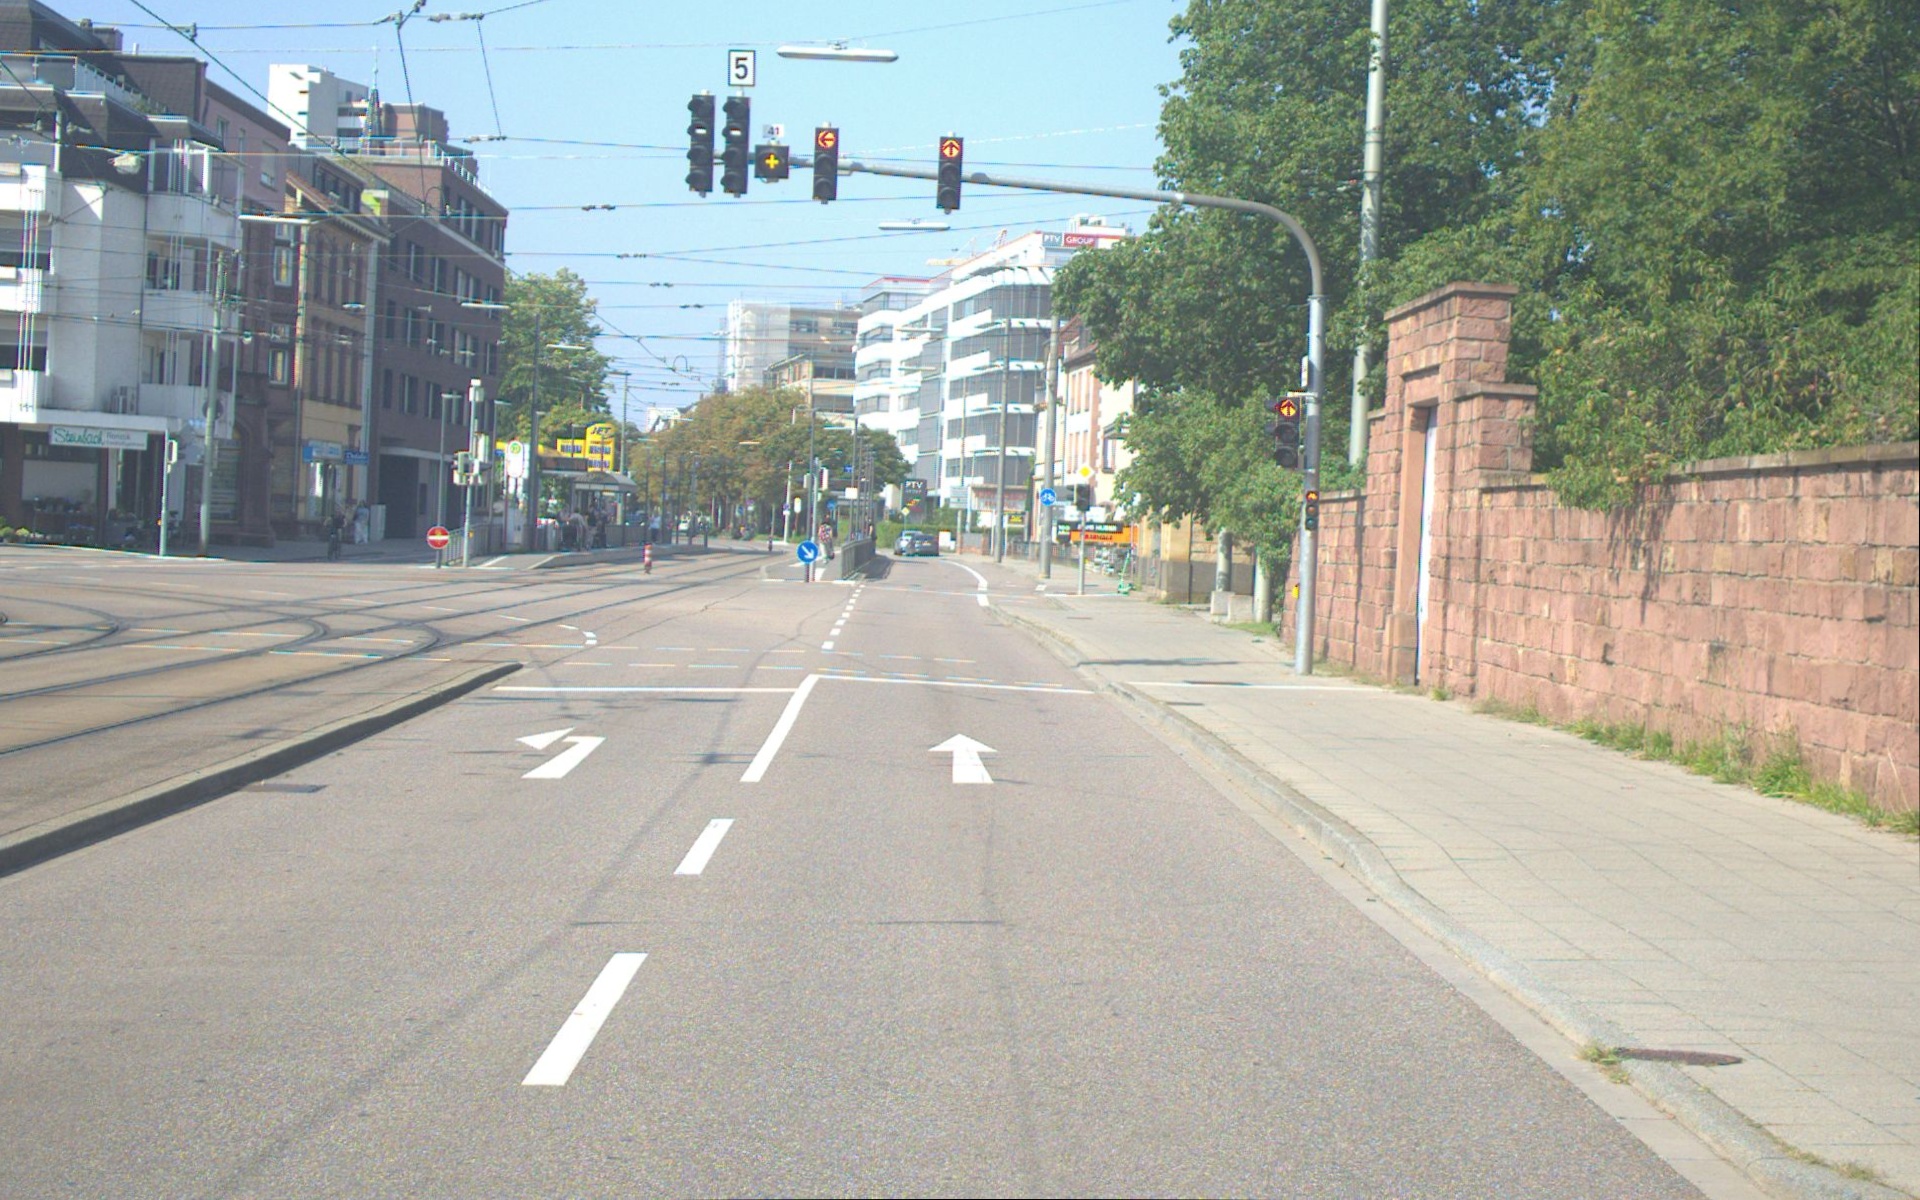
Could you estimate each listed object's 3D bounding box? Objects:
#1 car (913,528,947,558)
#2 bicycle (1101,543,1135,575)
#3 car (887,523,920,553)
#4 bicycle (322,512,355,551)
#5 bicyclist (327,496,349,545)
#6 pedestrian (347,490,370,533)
[{"bbox_3d":[-1.895,-3.584,215.754,2.011,1.852,4.000,1,1,1],"label":"car"},{"bbox_3d":[5.811,-1.507,126.452,0.731,1.129,2.840,-1,1,-8],"label":"bicycle"},{"bbox_3d":[-3.623,-3.990,221.963,2.011,1.852,4.000,1,1,1],"label":"car"},{"bbox_3d":[-19.287,-2.131,106.688,0.575,1.175,2.208,1,1,1],"label":"bicycle"},{"bbox_3d":[-19.279,-2.465,106.505,0.568,1.518,0.490,1,1,1],"label":"bicyclist"},{"bbox_3d":[-22.712,-3.343,129.880,0.483,1.554,0.886,4,0,10],"label":"pedestrian"}]
